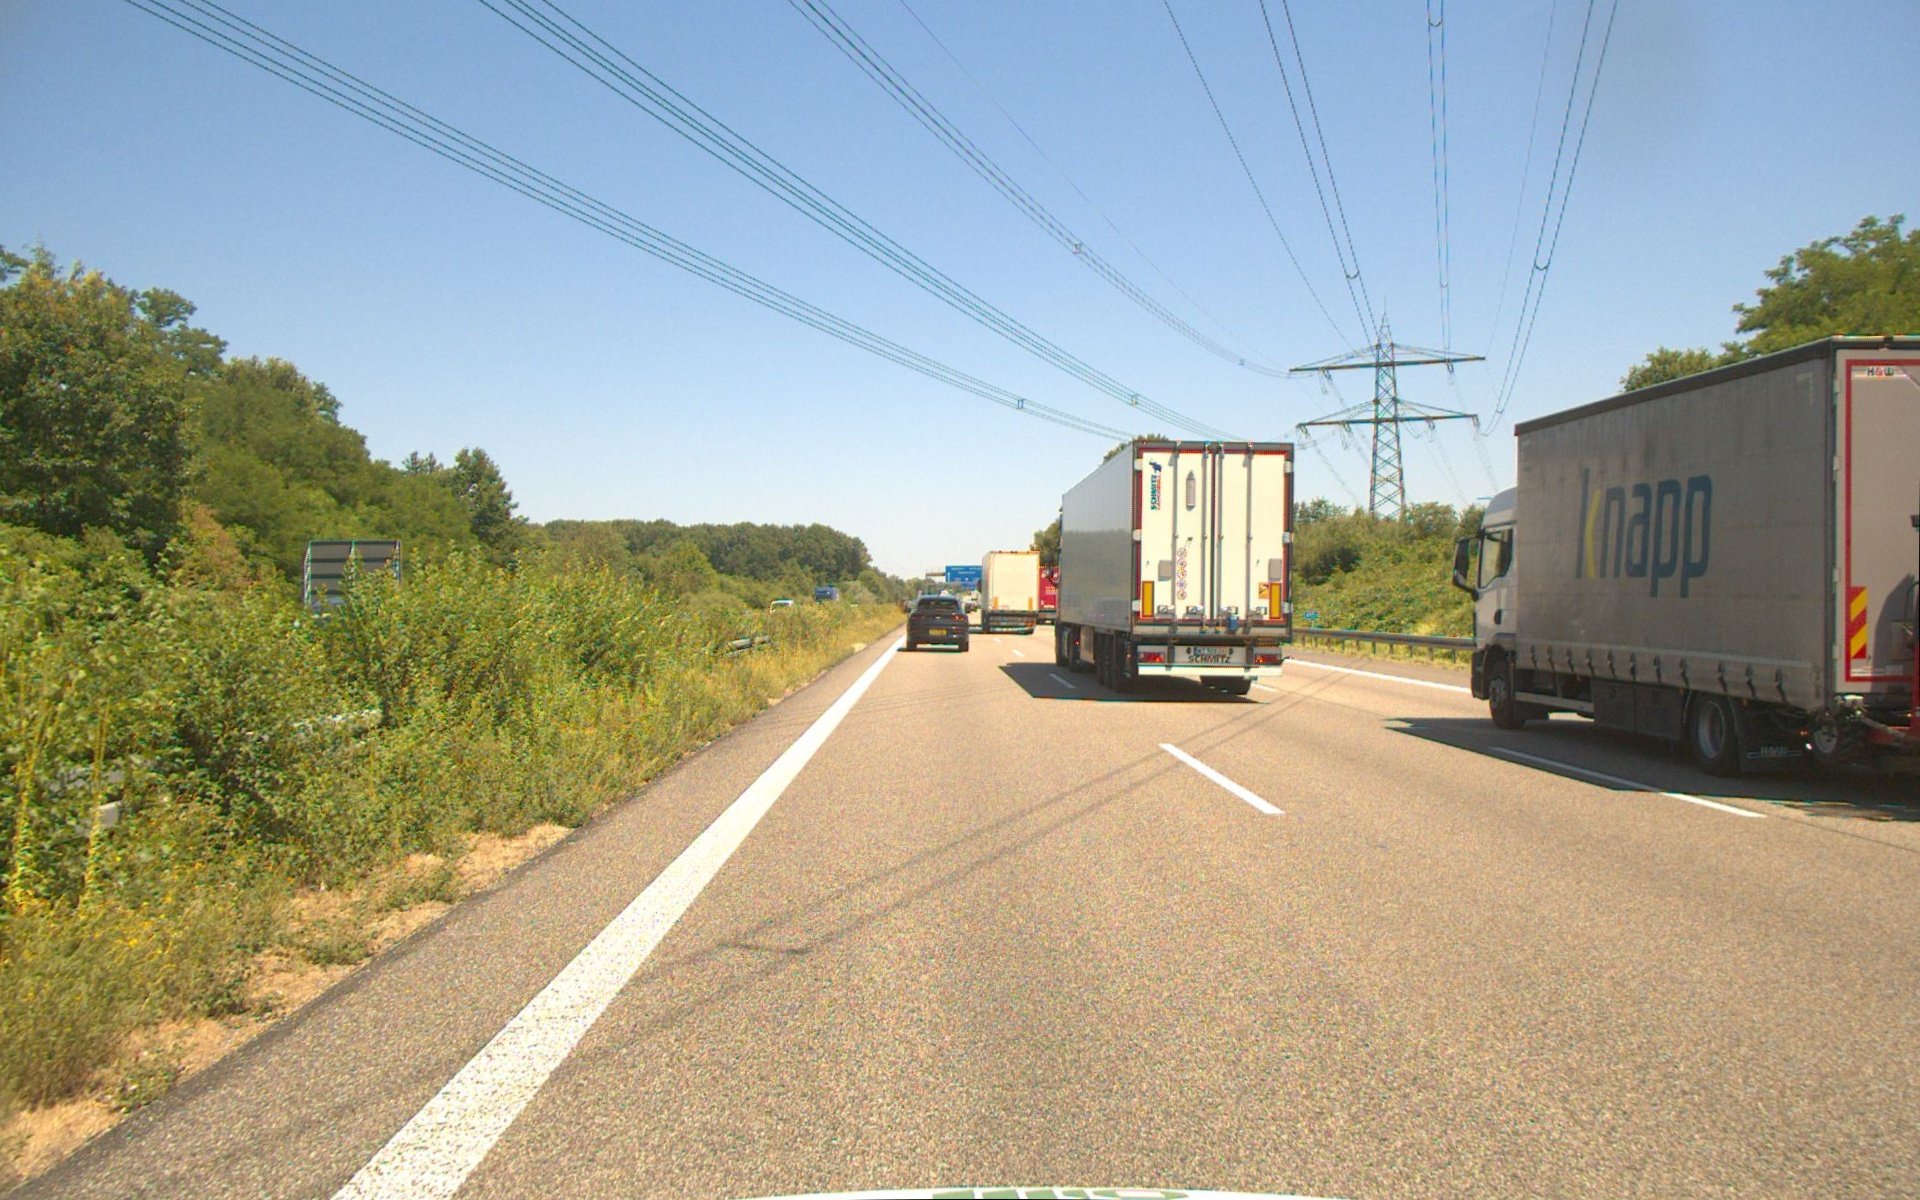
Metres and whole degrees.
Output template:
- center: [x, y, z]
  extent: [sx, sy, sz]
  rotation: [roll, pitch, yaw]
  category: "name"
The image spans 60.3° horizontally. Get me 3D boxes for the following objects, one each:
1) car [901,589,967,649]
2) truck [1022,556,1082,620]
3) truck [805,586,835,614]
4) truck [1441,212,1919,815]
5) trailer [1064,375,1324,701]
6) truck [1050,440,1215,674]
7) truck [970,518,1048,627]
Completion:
- center: [-0.854, 0.572, 52.531]
  extent: [1.954, 1.803, 3.998]
  rotation: [0, 0, -3]
  category: "car"
- center: [6.910, -0.879, 126.254]
  extent: [3.441, 4.571, 13.246]
  rotation: [1, 0, -2]
  category: "truck"
- center: [-20.049, -0.008, 237.402]
  extent: [3.441, 3.835, 12.039]
  rotation: [1, 0, -2]
  category: "truck"
- center: [8.575, -0.570, 17.379]
  extent: [3.498, 4.319, 11.650]
  rotation: [1, 0, 0]
  category: "truck"
- center: [4.006, -0.937, 31.667]
  extent: [3.024, 4.970, 12.256]
  rotation: [1, 0, -1]
  category: "trailer"
- center: [3.893, -0.916, 38.934]
  extent: [3.024, 4.970, 6.596]
  rotation: [1, 0, -1]
  category: "truck"
- center: [2.432, -1.368, 86.105]
  extent: [3.441, 5.257, 10.255]
  rotation: [1, 0, -2]
  category: "truck"
